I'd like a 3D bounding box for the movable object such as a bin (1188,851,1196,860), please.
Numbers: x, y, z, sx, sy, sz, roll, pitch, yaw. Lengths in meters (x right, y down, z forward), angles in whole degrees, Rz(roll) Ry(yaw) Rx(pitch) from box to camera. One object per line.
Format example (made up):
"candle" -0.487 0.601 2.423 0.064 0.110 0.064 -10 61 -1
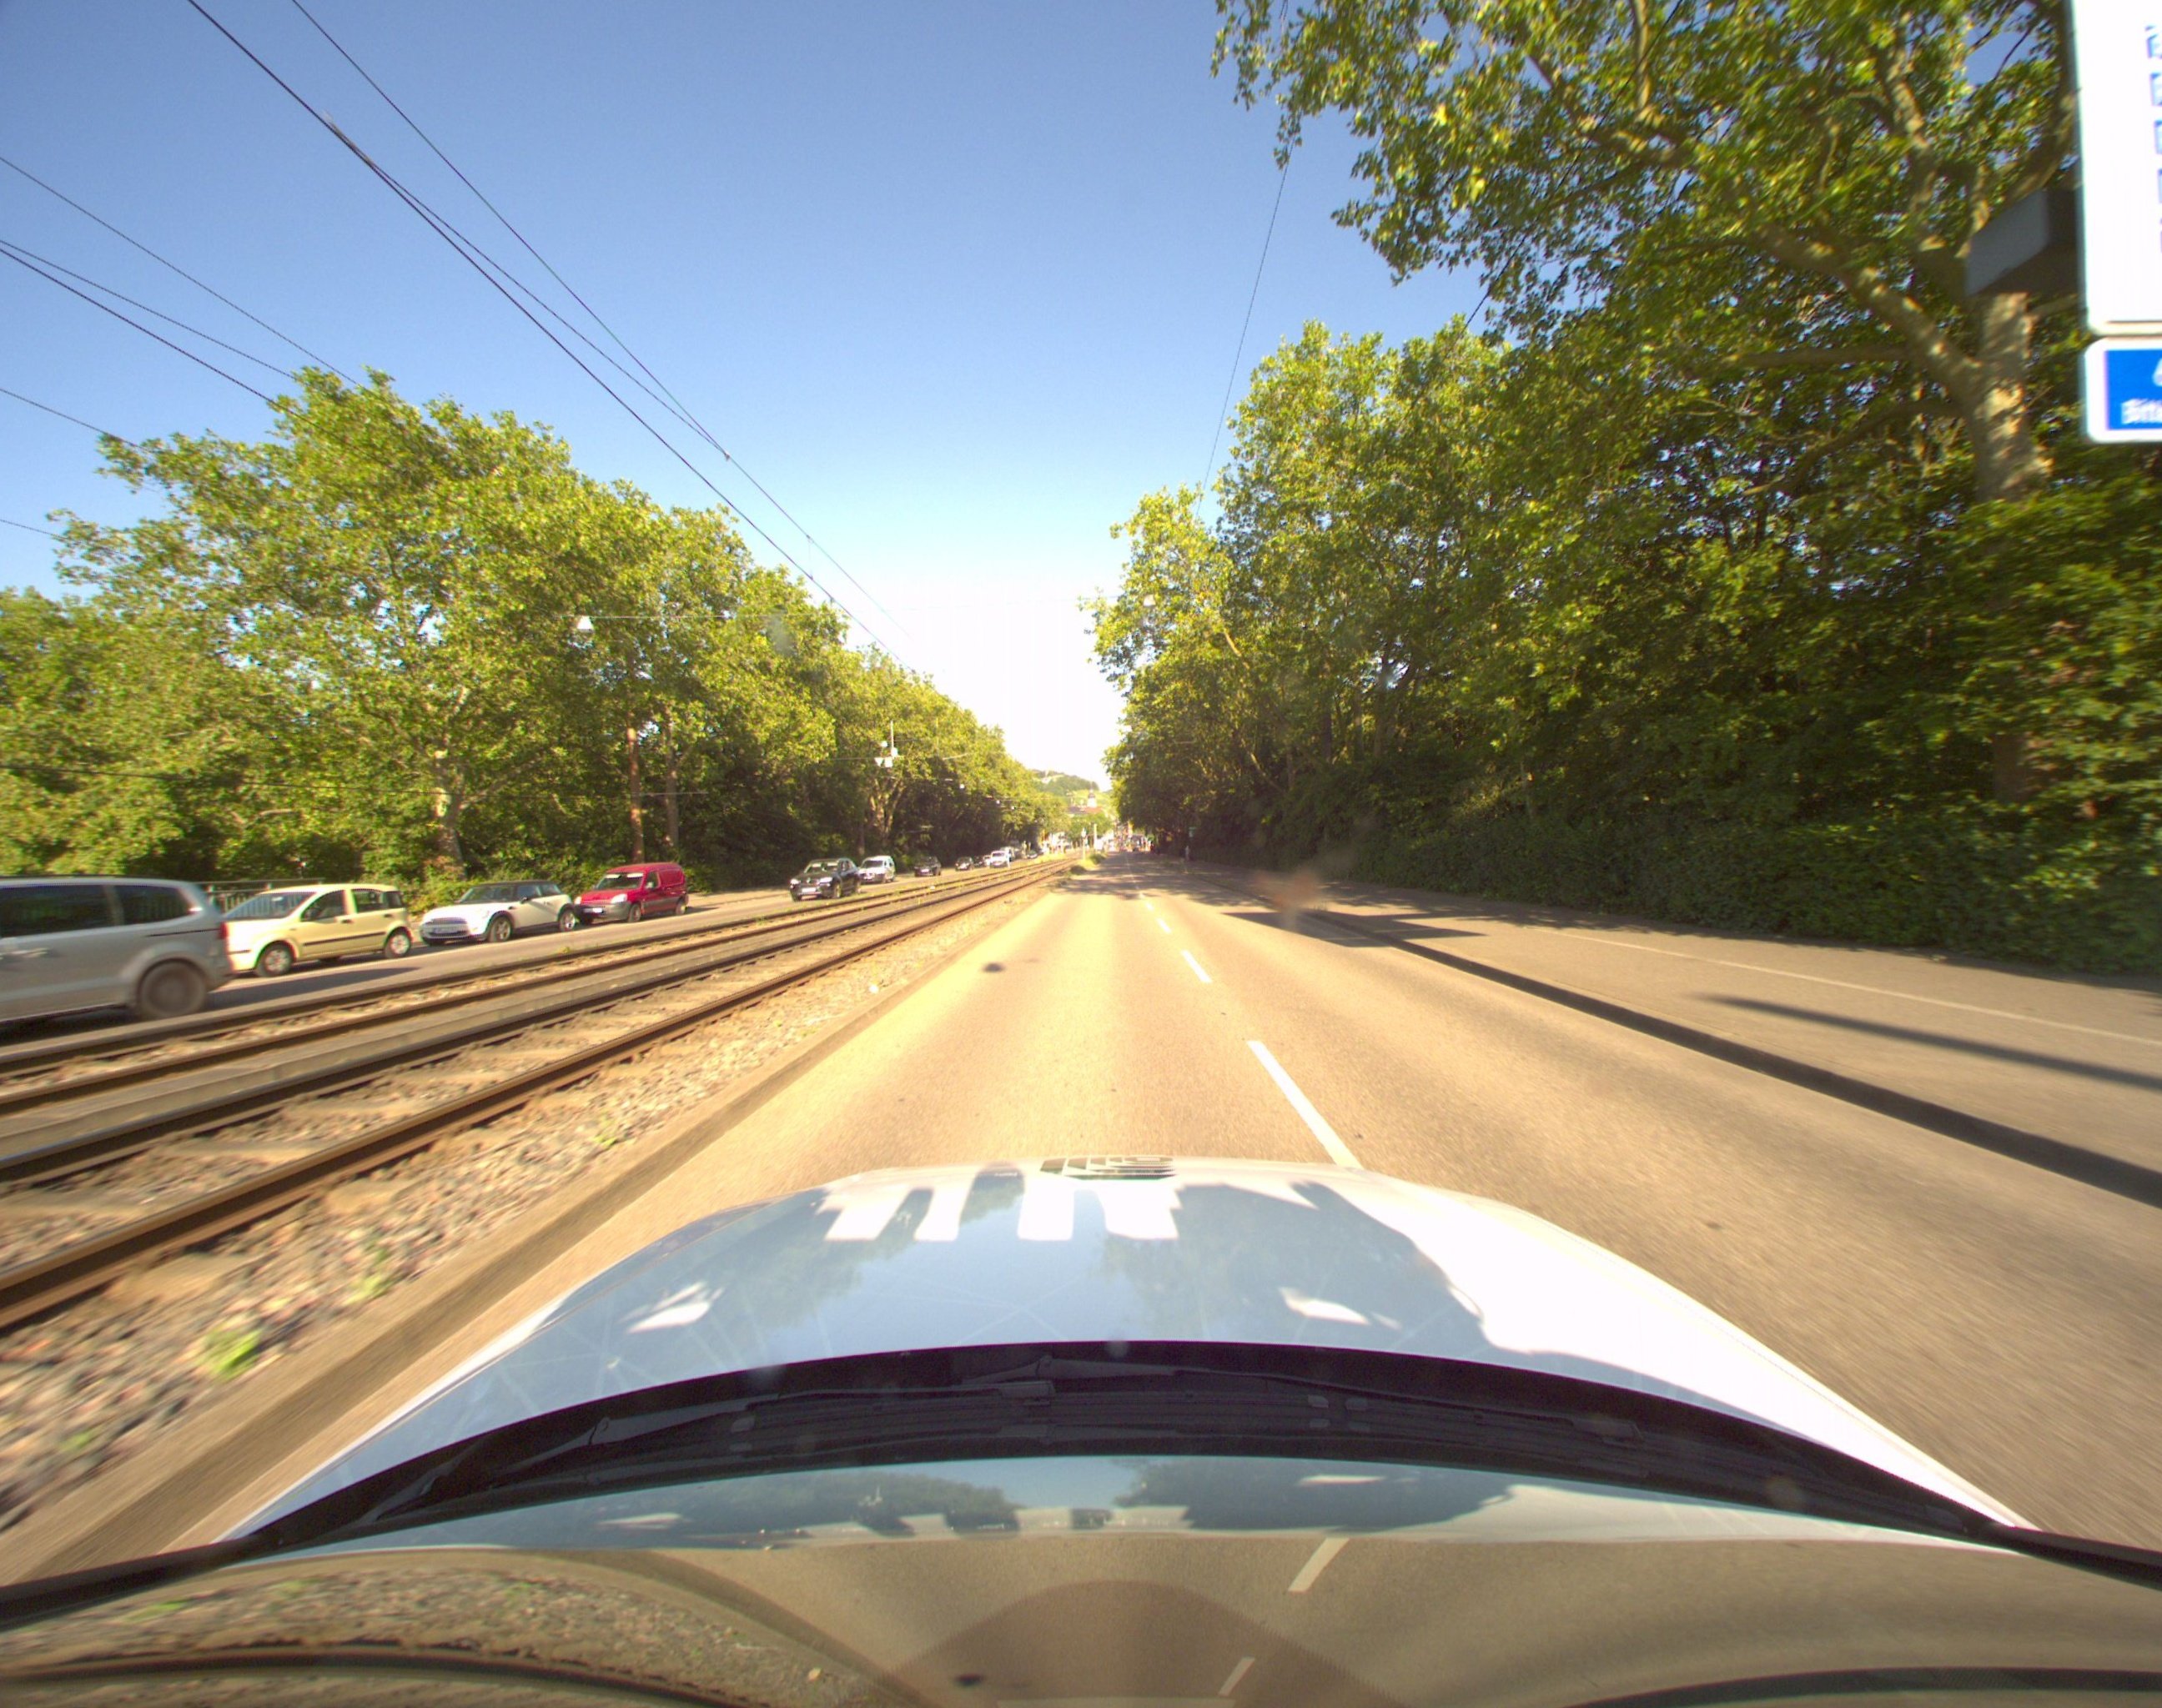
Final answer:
"movable object such as a bin" 11.991 0.194 87.758 0.800 0.947 0.657 -2 0 5

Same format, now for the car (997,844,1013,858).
"car" -13.078 -0.523 140.669 1.987 2.164 5.815 -2 0 1

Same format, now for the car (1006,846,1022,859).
"car" -13.220 -0.353 161.700 2.384 2.523 5.903 -2 0 2

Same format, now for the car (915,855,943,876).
"car" -12.850 0.948 68.878 1.738 1.636 3.996 -3 1 -3

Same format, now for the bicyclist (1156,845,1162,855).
"bicyclist" 13.609 -0.746 142.298 0.883 1.638 1.165 -2 0 2

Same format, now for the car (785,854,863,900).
"car" -10.620 0.896 33.987 1.736 1.623 4.394 -3 1 0

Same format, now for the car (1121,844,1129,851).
"car" 13.396 -1.881 247.796 2.384 1.999 5.309 -2 0 2

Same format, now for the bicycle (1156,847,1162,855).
"bicycle" 13.612 -0.459 142.200 0.883 1.321 2.641 -2 0 2

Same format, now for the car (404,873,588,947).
"car" -14.274 1.299 20.184 1.628 1.450 4.001 -2 1 0

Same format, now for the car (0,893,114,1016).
"car" -14.491 1.340 8.936 1.735 1.464 4.957 -1 1 1

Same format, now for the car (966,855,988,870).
"car" -12.991 1.014 101.783 1.987 1.697 4.745 -2 0 1

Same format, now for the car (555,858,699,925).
"car" -14.038 1.087 25.562 1.735 1.754 4.686 -2 1 1

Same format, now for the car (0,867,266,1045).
"car" -11.498 1.053 8.154 1.865 1.665 4.600 -1 1 2

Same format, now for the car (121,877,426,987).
"car" -14.323 1.293 14.802 1.627 1.531 3.792 -2 1 2

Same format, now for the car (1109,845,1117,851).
"car" 10.103 -1.941 257.538 2.384 1.999 5.309 -2 0 2

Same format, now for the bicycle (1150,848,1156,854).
"bicycle" 14.290 -0.603 161.881 0.883 1.321 2.641 -2 0 2

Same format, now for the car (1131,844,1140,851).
"car" 16.278 -1.973 242.931 2.384 1.999 5.309 -2 0 2

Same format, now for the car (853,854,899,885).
"car" -13.440 0.999 53.685 1.736 1.743 4.513 -5 1 0

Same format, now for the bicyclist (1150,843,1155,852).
"bicyclist" 14.271 -1.218 161.765 0.883 1.774 1.223 -2 0 2

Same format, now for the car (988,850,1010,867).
"car" -9.345 0.499 93.408 1.987 1.844 5.300 -2 0 -1

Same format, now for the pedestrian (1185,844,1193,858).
"pedestrian" 11.737 -0.352 88.529 0.800 1.546 0.815 -2 0 6

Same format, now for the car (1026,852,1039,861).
"car" -9.198 0.471 154.595 1.987 1.697 4.745 -2 0 1

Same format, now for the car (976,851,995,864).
"car" -13.184 0.447 113.071 1.987 1.697 4.745 -2 0 1

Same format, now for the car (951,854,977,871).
"car" -12.729 0.923 88.680 1.987 1.697 4.745 -2 0 1
